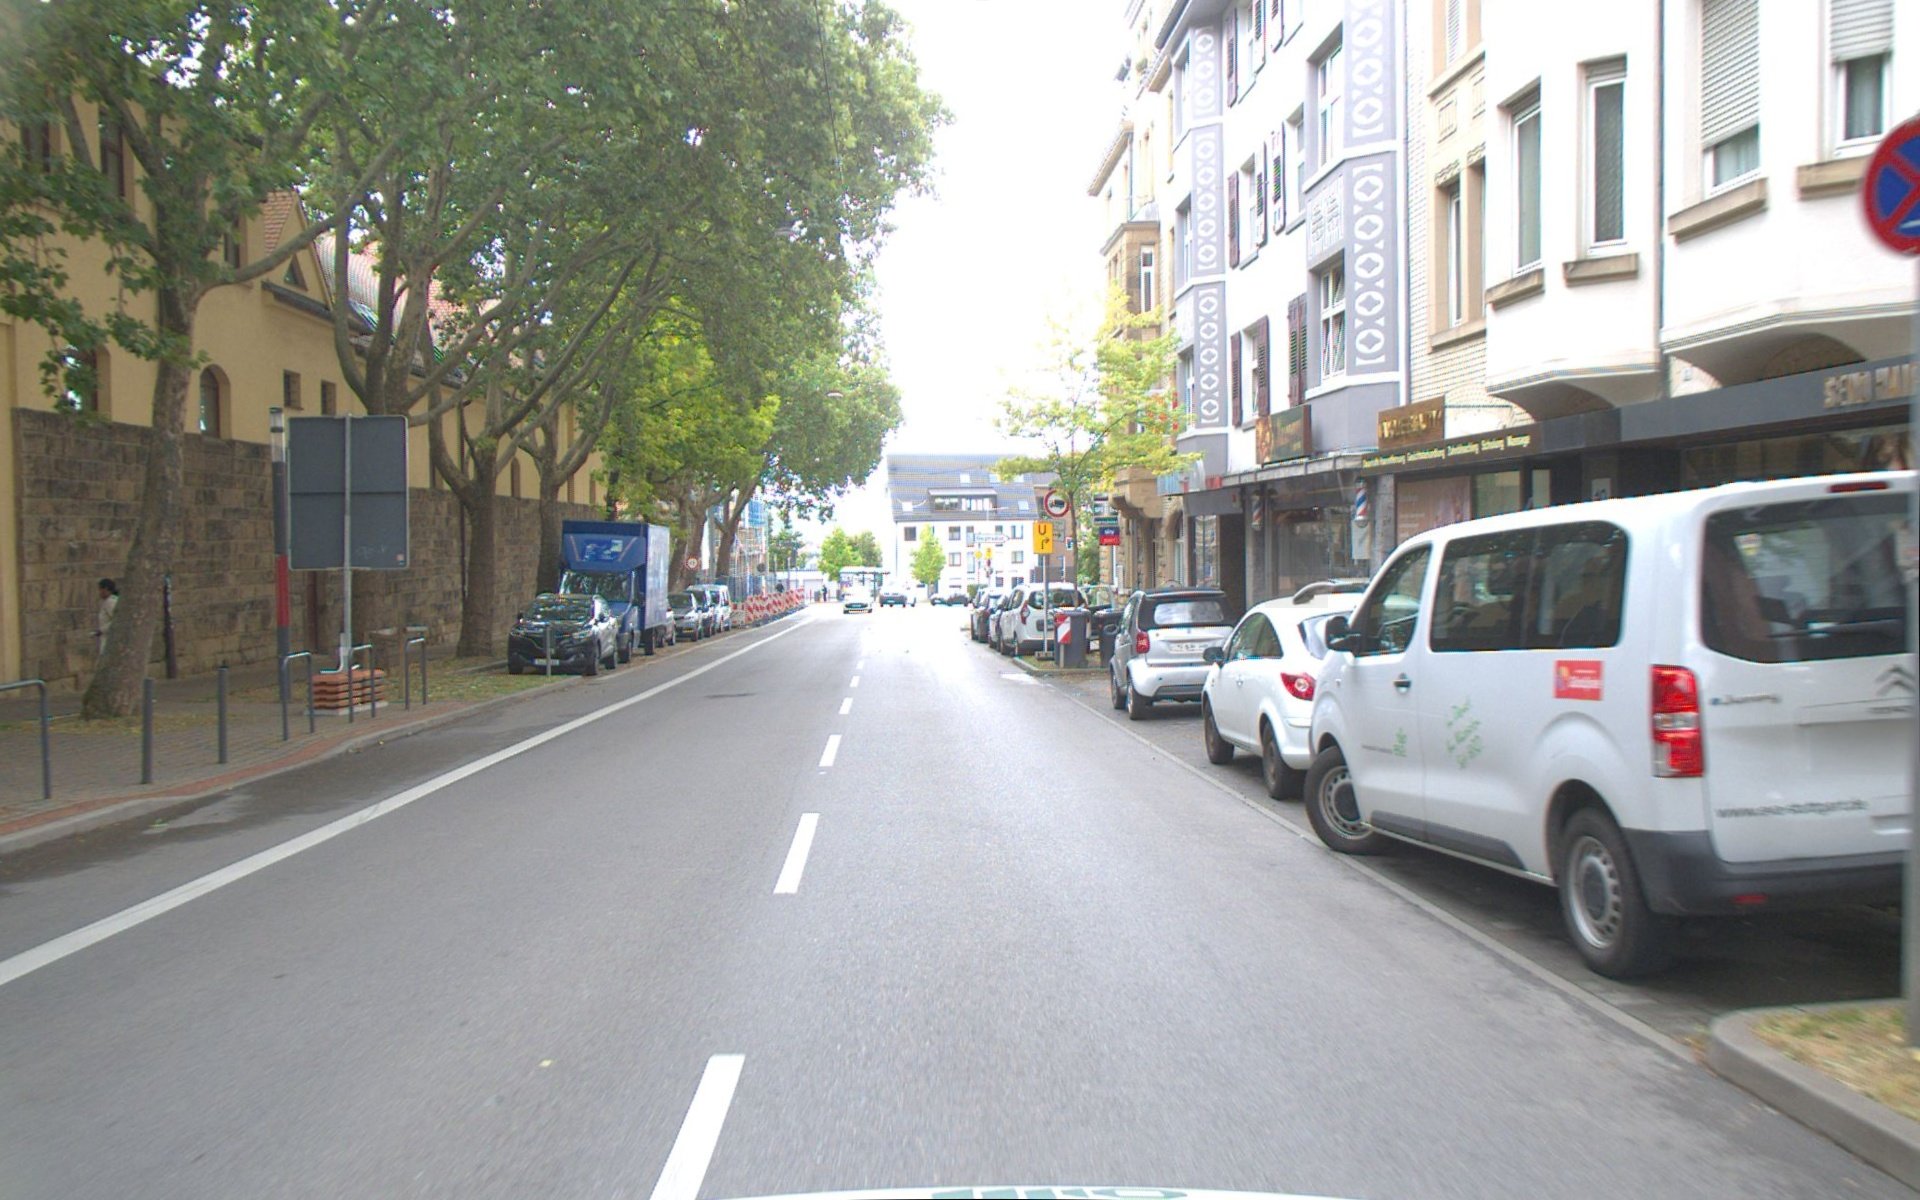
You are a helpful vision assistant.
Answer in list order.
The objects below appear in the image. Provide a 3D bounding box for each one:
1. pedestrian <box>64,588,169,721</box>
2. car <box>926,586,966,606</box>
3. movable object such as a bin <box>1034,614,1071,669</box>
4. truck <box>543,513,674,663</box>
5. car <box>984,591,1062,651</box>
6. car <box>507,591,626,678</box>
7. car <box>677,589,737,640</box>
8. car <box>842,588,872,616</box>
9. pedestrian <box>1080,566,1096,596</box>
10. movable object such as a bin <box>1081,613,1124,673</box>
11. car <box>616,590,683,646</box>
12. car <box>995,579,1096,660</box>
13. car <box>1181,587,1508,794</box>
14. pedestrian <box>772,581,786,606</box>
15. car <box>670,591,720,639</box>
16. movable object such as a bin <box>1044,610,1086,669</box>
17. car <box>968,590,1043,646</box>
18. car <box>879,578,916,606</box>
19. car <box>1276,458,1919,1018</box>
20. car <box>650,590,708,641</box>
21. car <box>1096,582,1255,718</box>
[{"bbox_3d":[-11.133,0.703,21.853,0.844,1.717,0.927,1,0,7],"label":"pedestrian"},{"bbox_3d":[-1.085,-0.324,132.348,1.622,1.489,3.999,-4,0,23],"label":"car"},{"bbox_3d":[1.797,0.793,32.128,0.610,1.042,0.696,-1,0,-5],"label":"movable object such as a bin"},{"bbox_3d":[-8.866,-0.290,42.406,2.171,3.476,7.242,1,0,-3],"label":"truck"},{"bbox_3d":[1.601,0.518,43.284,1.574,1.421,4.273,-3,0,-3],"label":"car"},{"bbox_3d":[-8.244,0.701,34.978,1.697,1.718,4.249,1,-1,-3],"label":"car"},{"bbox_3d":[-10.072,0.551,66.094,1.797,1.909,4.415,-2,0,-2],"label":"car"},{"bbox_3d":[-5.884,0.092,94.910,1.551,1.489,3.650,-3,0,-2],"label":"car"},{"bbox_3d":[7.645,-1.136,98.921,0.704,1.765,0.652,1,-1,-35],"label":"pedestrian"},{"bbox_3d":[2.627,0.784,30.485,0.681,1.092,0.623,0,0,-6],"label":"movable object such as a bin"},{"bbox_3d":[-9.315,0.537,49.777,1.450,1.601,2.991,1,-1,-1],"label":"car"},{"bbox_3d":[1.923,0.423,38.391,1.646,1.692,4.539,-3,0,-5],"label":"car"},{"bbox_3d":[3.083,0.644,14.114,1.650,1.440,4.040,-2,0,-3],"label":"car"},{"bbox_3d":[-13.373,-0.475,121.968,0.904,1.750,0.798,1,-1,1],"label":"pedestrian"},{"bbox_3d":[-9.643,0.542,60.423,1.479,1.660,4.111,1,-1,-5],"label":"car"},{"bbox_3d":[1.928,0.721,30.535,0.611,1.042,0.695,-1,0,-10],"label":"movable object such as a bin"},{"bbox_3d":[1.317,0.507,49.449,1.704,1.488,4.771,-3,0,-4],"label":"car"},{"bbox_3d":[-4.385,-0.600,116.826,2.159,1.965,5.242,0,1,2],"label":"car"},{"bbox_3d":[3.256,0.459,8.430,1.869,1.964,4.914,-2,0,-6],"label":"car"},{"bbox_3d":[-9.339,0.519,55.158,1.563,1.601,4.082,1,-1,-5],"label":"car"},{"bbox_3d":[2.720,0.584,21.536,1.452,1.561,3.521,-2,1,-2],"label":"car"}]
